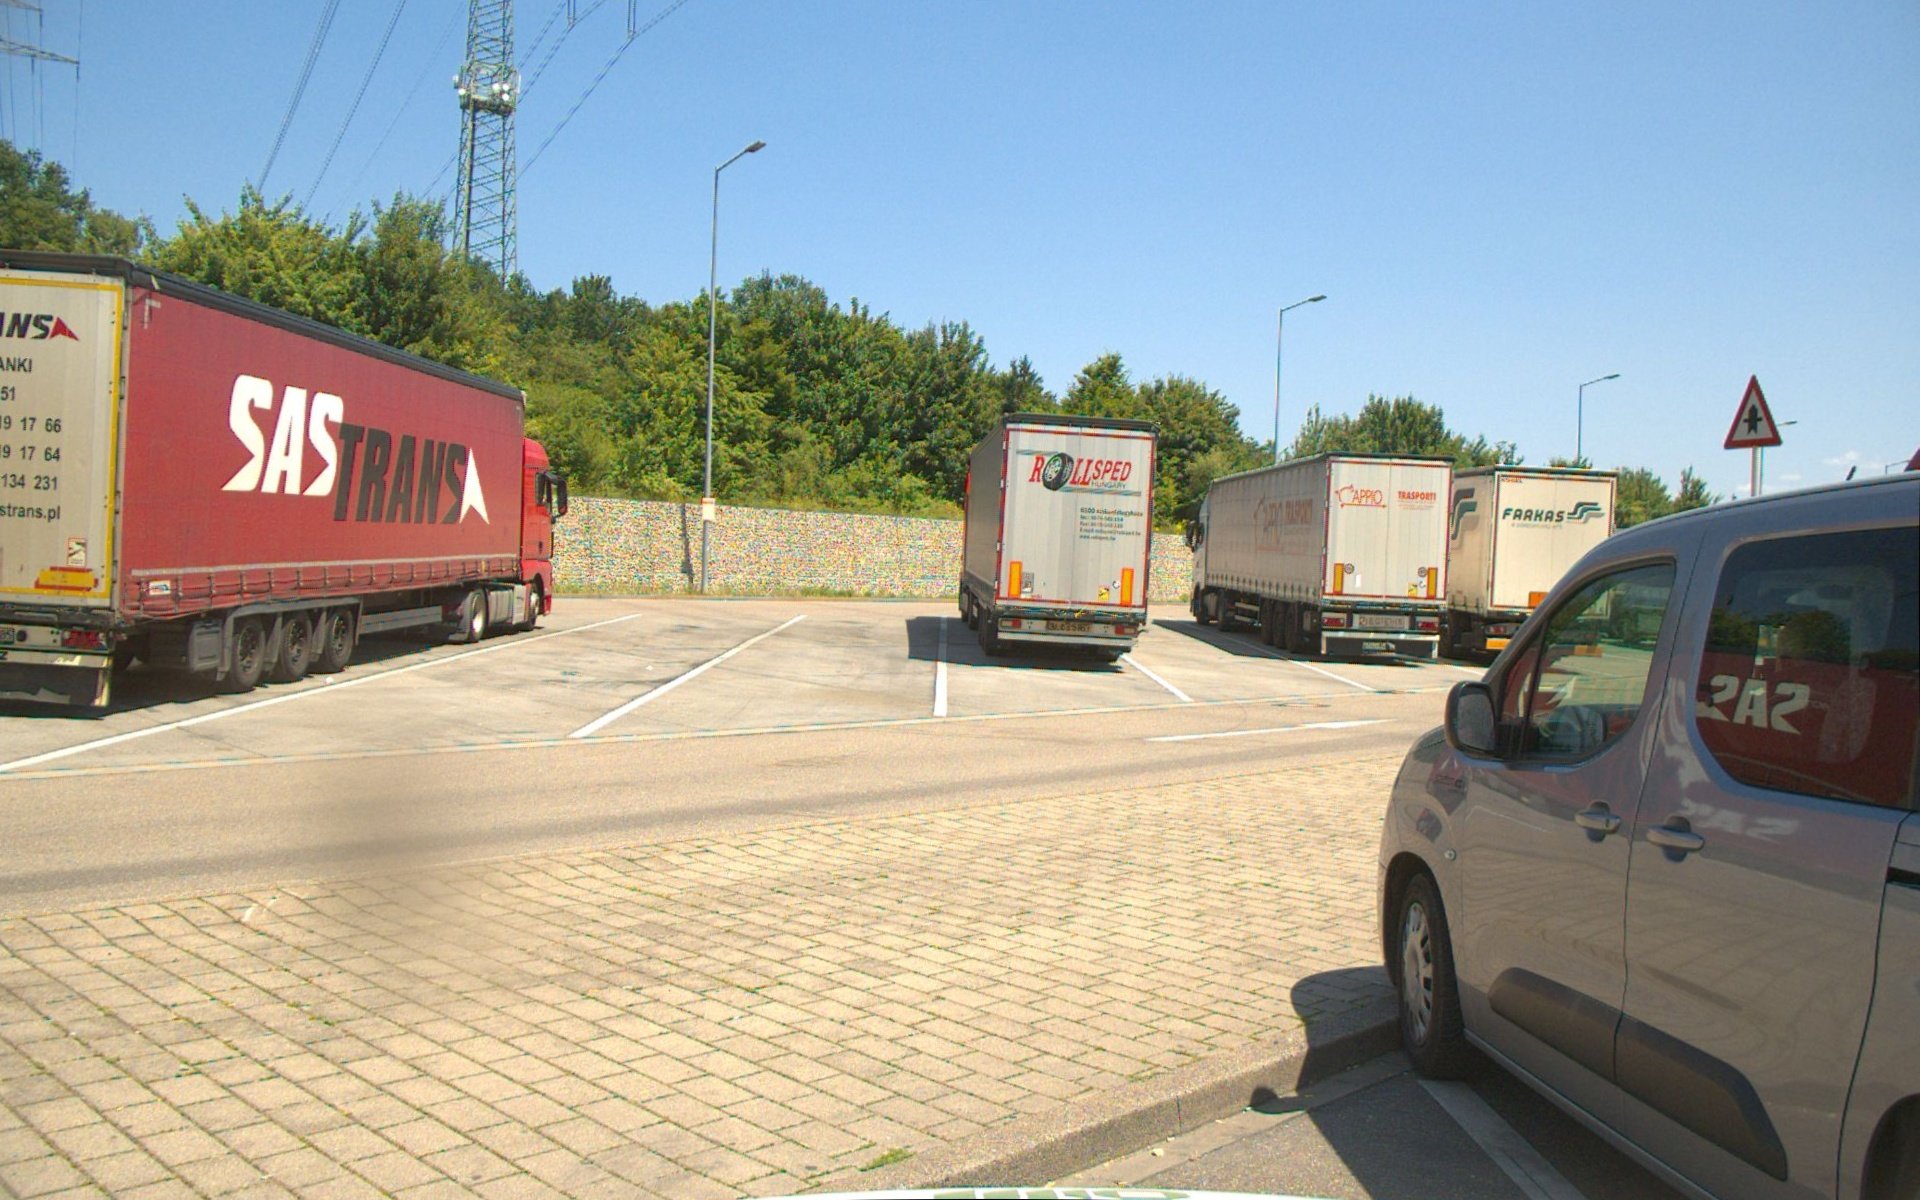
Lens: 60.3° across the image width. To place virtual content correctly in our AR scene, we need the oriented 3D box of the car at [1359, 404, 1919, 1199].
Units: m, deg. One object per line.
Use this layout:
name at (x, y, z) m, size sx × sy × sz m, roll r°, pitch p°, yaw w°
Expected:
car at (2.434, 0.553, 3.815) m, size 1.790 × 1.784 × 3.997 m, roll 1°, pitch 1°, yaw -4°

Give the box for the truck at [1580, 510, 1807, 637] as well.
truck at (21.958, -0.815, 50.184) m, size 2.963 × 3.497 × 8.529 m, roll 1°, pitch 1°, yaw -1°

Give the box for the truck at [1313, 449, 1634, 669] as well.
truck at (11.717, -0.963, 39.992) m, size 2.846 × 4.195 × 14.525 m, roll 3°, pitch 1°, yaw -1°

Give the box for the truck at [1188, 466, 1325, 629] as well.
truck at (8.072, -1.418, 45.607) m, size 2.701 × 4.196 × 5.283 m, roll 1°, pitch 1°, yaw -1°

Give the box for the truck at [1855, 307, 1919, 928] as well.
truck at (4.980, 0.125, 4.935) m, size 1.952 × 2.669 × 5.305 m, roll 1°, pitch 1°, yaw 3°

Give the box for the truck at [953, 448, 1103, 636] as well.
truck at (1.467, -1.387, 39.442) m, size 2.965 × 3.997 × 6.845 m, roll 2°, pitch 2°, yaw -2°

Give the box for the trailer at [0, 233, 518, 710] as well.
trailer at (-8.680, -1.265, 21.035) m, size 2.694 × 4.128 × 13.285 m, roll 1°, pitch 1°, yaw -1°

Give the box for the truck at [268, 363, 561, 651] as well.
truck at (-8.774, -1.427, 27.537) m, size 2.687 × 4.152 × 6.828 m, roll 1°, pitch 1°, yaw -1°

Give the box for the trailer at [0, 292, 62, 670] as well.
trailer at (-12.408, -1.316, 15.446) m, size 2.689 × 4.337 × 9.733 m, roll 1°, pitch 1°, yaw 0°

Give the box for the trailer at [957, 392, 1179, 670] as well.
trailer at (1.699, -1.321, 32.677) m, size 3.008 × 4.301 × 12.805 m, roll 2°, pitch 2°, yaw -2°

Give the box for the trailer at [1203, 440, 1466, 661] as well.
trailer at (8.206, -1.093, 38.608) m, size 2.818 × 4.196 × 13.569 m, roll 1°, pitch 1°, yaw -1°
